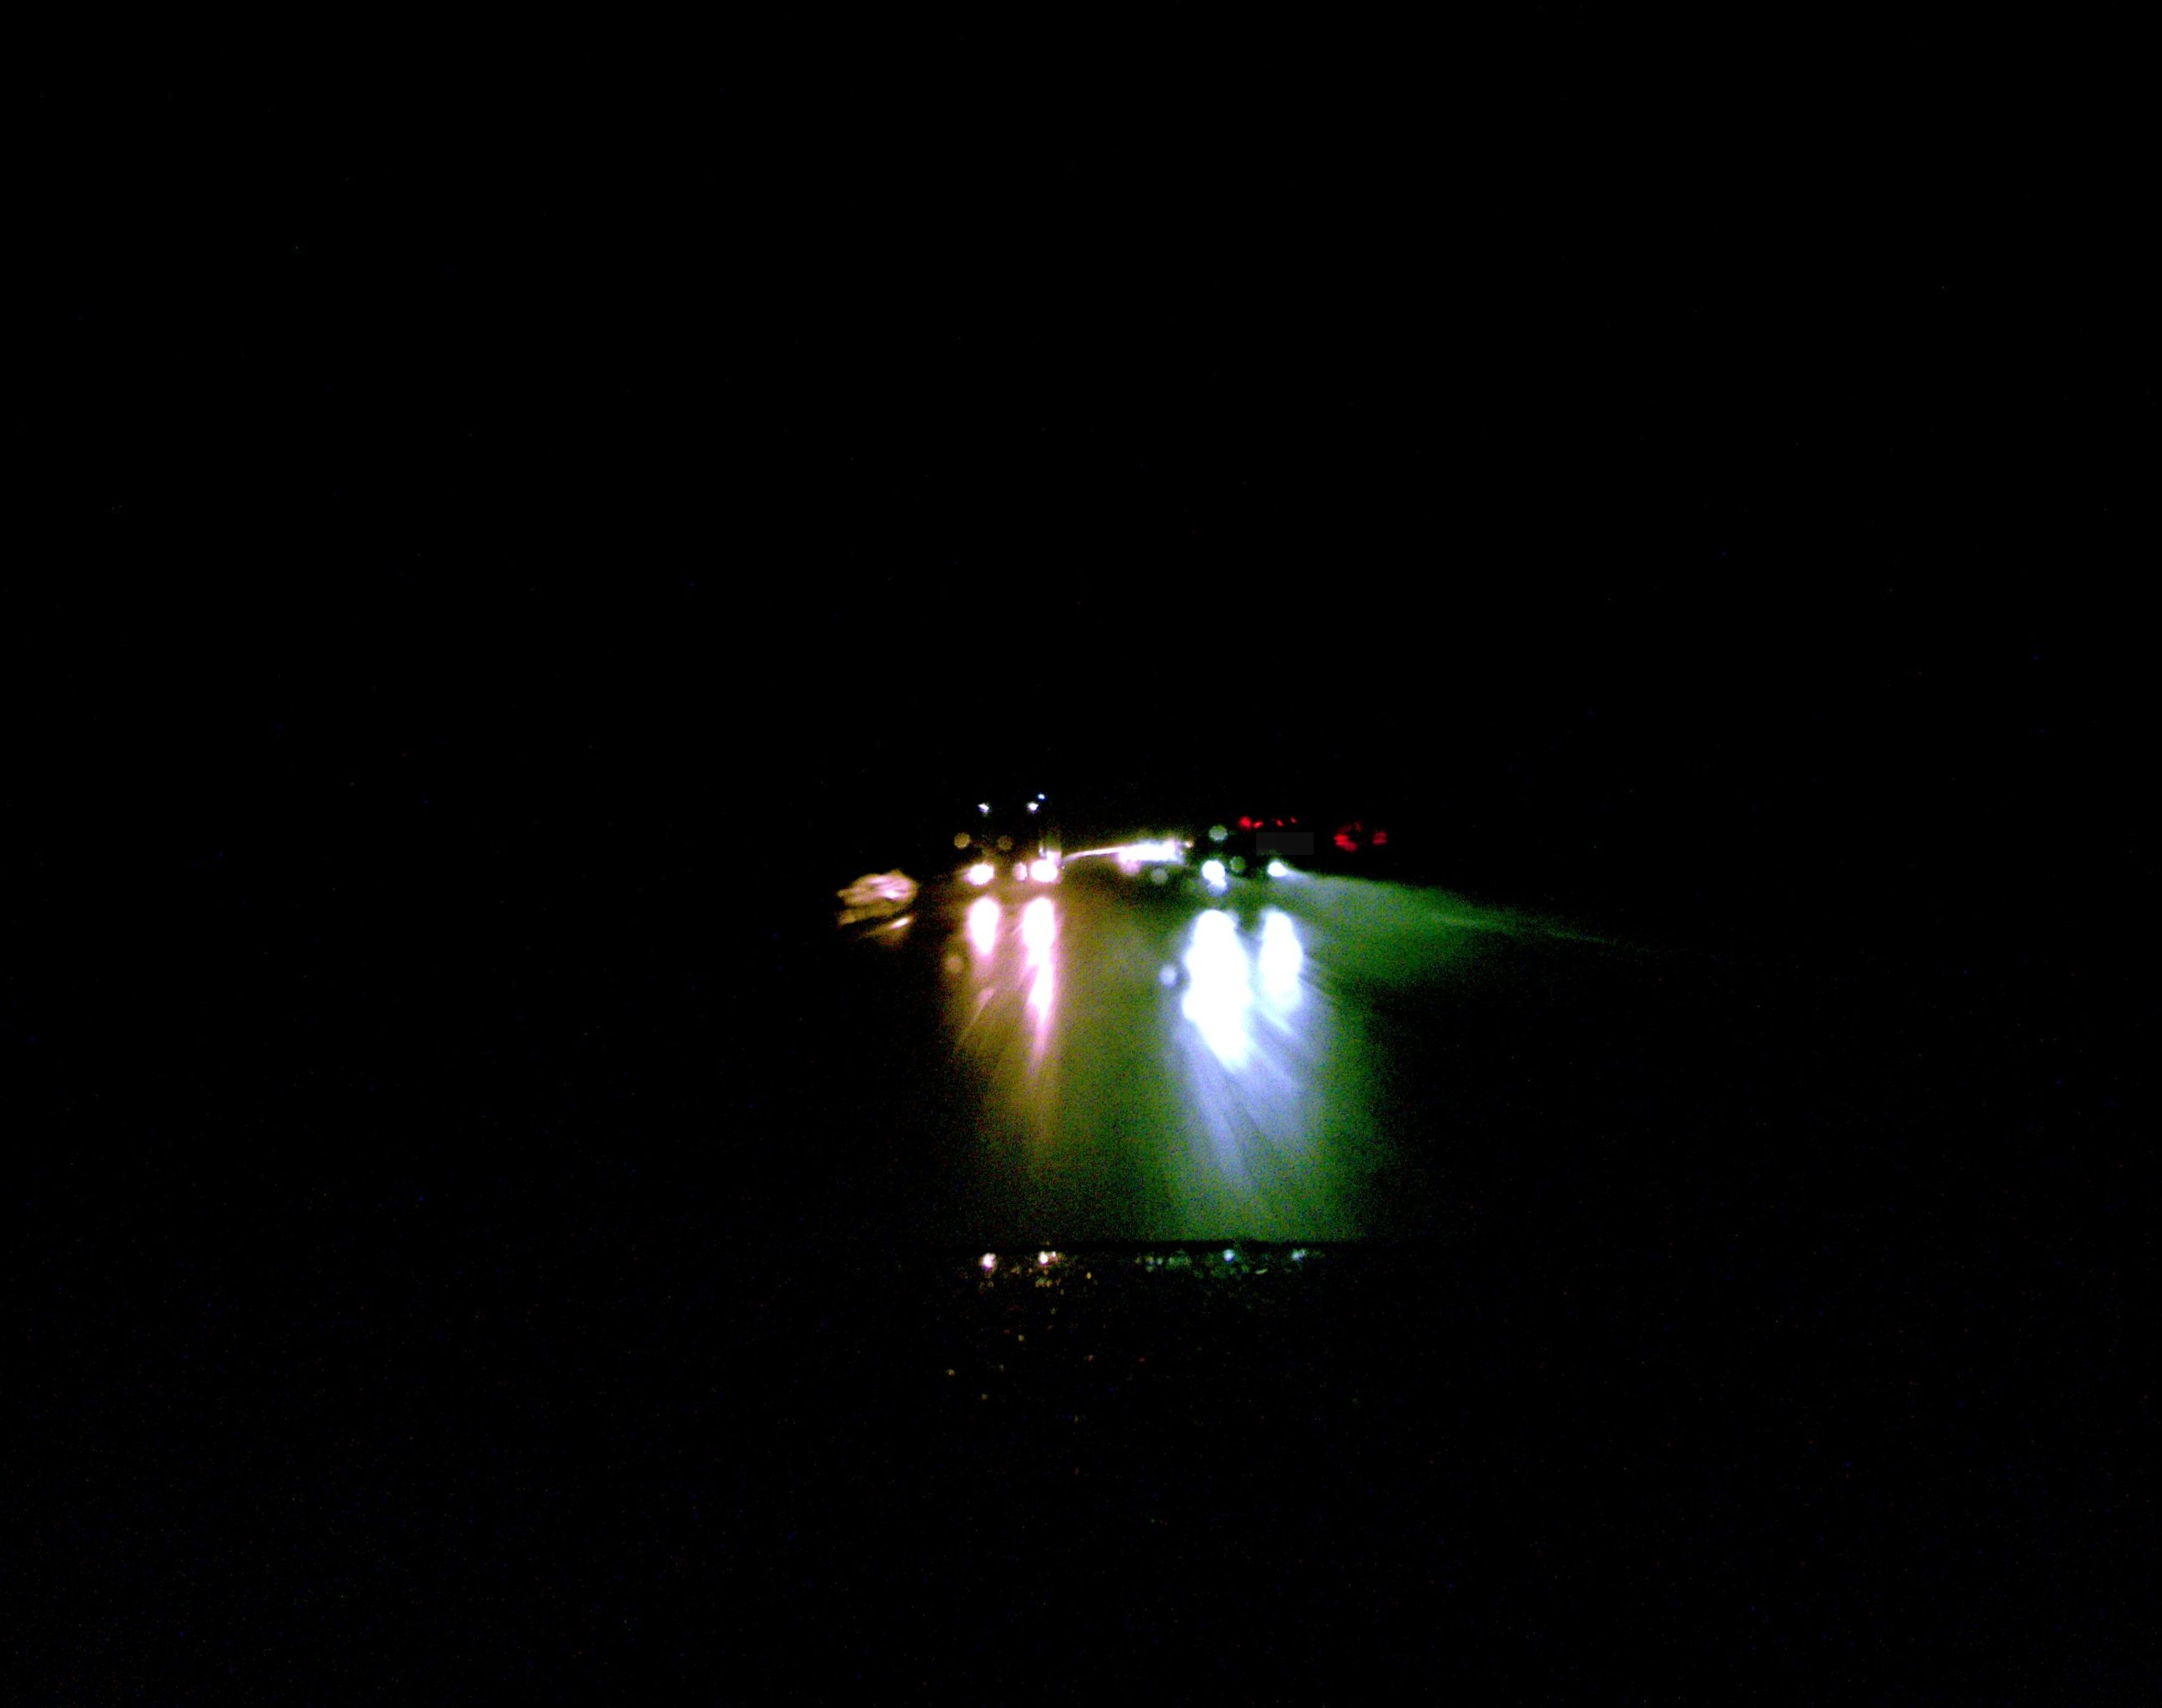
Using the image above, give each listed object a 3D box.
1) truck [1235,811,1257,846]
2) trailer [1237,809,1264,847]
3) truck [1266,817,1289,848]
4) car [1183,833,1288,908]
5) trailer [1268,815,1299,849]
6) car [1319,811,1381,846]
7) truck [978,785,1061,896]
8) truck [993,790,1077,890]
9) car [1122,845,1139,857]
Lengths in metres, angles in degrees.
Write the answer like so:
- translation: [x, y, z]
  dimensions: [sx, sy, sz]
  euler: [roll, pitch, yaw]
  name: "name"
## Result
- translation: [28.726, -4.390, 132.394]
  dimensions: [2.909, 5.861, 6.881]
  euler: [-2, 1, 7]
  name: "truck"
- translation: [27.943, -4.231, 125.814]
  dimensions: [2.914, 5.861, 14.176]
  euler: [-2, 1, 7]
  name: "trailer"
- translation: [33.350, -3.642, 129.058]
  dimensions: [2.779, 4.947, 6.718]
  euler: [-2, 1, 7]
  name: "truck"
- translation: [4.406, 0.379, 22.607]
  dimensions: [2.142, 1.874, 5.555]
  euler: [-2, 1, 2]
  name: "car"
- translation: [32.494, -3.487, 122.339]
  dimensions: [2.779, 4.947, 14.111]
  euler: [-2, 1, 7]
  name: "trailer"
- translation: [17.769, -1.630, 50.531]
  dimensions: [2.148, 2.150, 5.545]
  euler: [-1, 1, 0]
  name: "car"
- translation: [-2.466, -0.573, 32.440]
  dimensions: [2.503, 4.224, 5.982]
  euler: [-2, 1, 4]
  name: "truck"
- translation: [-2.023, -0.739, 39.380]
  dimensions: [2.502, 4.223, 13.643]
  euler: [-2, 1, 4]
  name: "truck"
- translation: [6.932, -0.481, 105.933]
  dimensions: [1.997, 1.553, 4.647]
  euler: [-2, 1, 8]
  name: "car"
